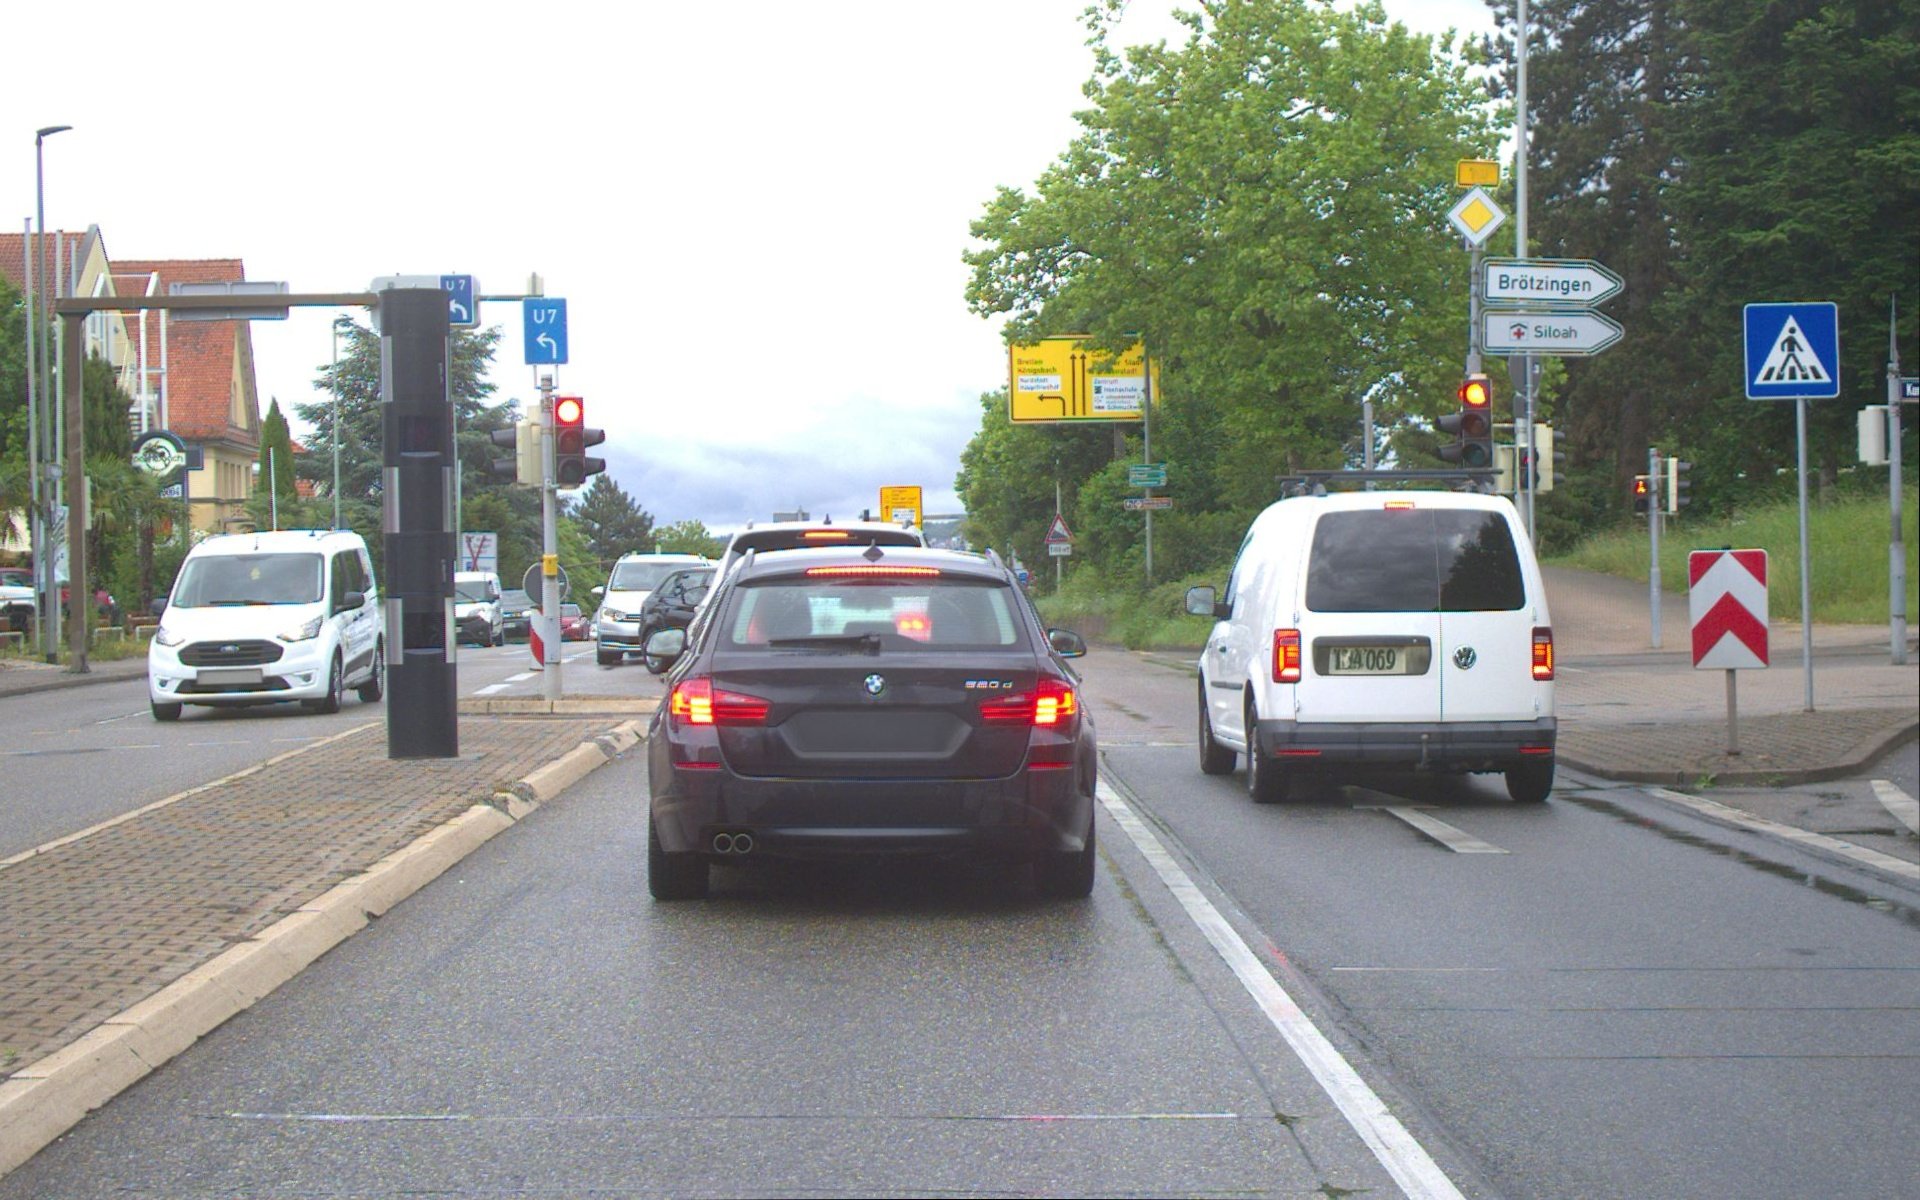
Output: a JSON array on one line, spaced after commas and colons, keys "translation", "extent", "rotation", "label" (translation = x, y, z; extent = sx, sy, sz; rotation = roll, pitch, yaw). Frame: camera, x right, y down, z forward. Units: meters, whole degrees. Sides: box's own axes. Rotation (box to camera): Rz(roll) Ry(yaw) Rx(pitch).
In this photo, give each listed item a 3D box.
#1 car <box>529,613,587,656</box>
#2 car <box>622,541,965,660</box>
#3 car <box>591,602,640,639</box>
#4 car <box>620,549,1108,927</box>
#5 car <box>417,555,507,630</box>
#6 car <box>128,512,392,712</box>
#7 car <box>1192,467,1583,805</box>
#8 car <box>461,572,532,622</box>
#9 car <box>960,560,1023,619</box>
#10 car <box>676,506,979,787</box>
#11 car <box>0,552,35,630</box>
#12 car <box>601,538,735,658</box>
[{"translation": [-13.894, 1.169, 118.997], "extent": [1.668, 1.349, 3.443], "rotation": [-1, 1, -2], "label": "car"}, {"translation": [-2.152, -0.016, 44.118], "extent": [4.092, 1.451, 1.897], "rotation": [0, 1, 35], "label": "car"}, {"translation": [-13.661, 0.806, 136.398], "extent": [1.668, 1.349, 3.443], "rotation": [-1, 1, -2], "label": "car"}, {"translation": [-0.314, 0.498, 15.122], "extent": [1.855, 1.414, 3.957], "rotation": [1, 1, 2], "label": "car"}, {"translation": [-11.860, -0.199, 81.990], "extent": [1.668, 1.664, 3.683], "rotation": [-1, 1, -1], "label": "car"}, {"translation": [-7.039, 0.083, 34.999], "extent": [1.857, 1.817, 4.580], "rotation": [-3, 1, -3], "label": "car"}, {"translation": [2.502, 0.154, 21.008], "extent": [1.741, 1.863, 3.946], "rotation": [0, 1, -2], "label": "car"}, {"translation": [-13.487, -0.100, 100.229], "extent": [1.668, 1.349, 3.443], "rotation": [-1, 1, -2], "label": "car"}, {"translation": [0.844, -0.291, 90.759], "extent": [1.600, 1.367, 3.680], "rotation": [-1, 2, 1], "label": "car"}, {"translation": [-0.804, 0.246, 22.742], "extent": [1.728, 1.705, 3.382], "rotation": [0, 1, 2], "label": "car"}, {"translation": [-19.731, -0.135, 64.641], "extent": [4.193, 1.451, 1.801], "rotation": [-2, 1, -28], "label": "car"}, {"translation": [-4.308, -0.055, 51.236], "extent": [1.734, 1.686, 4.000], "rotation": [-1, 1, -2], "label": "car"}]
